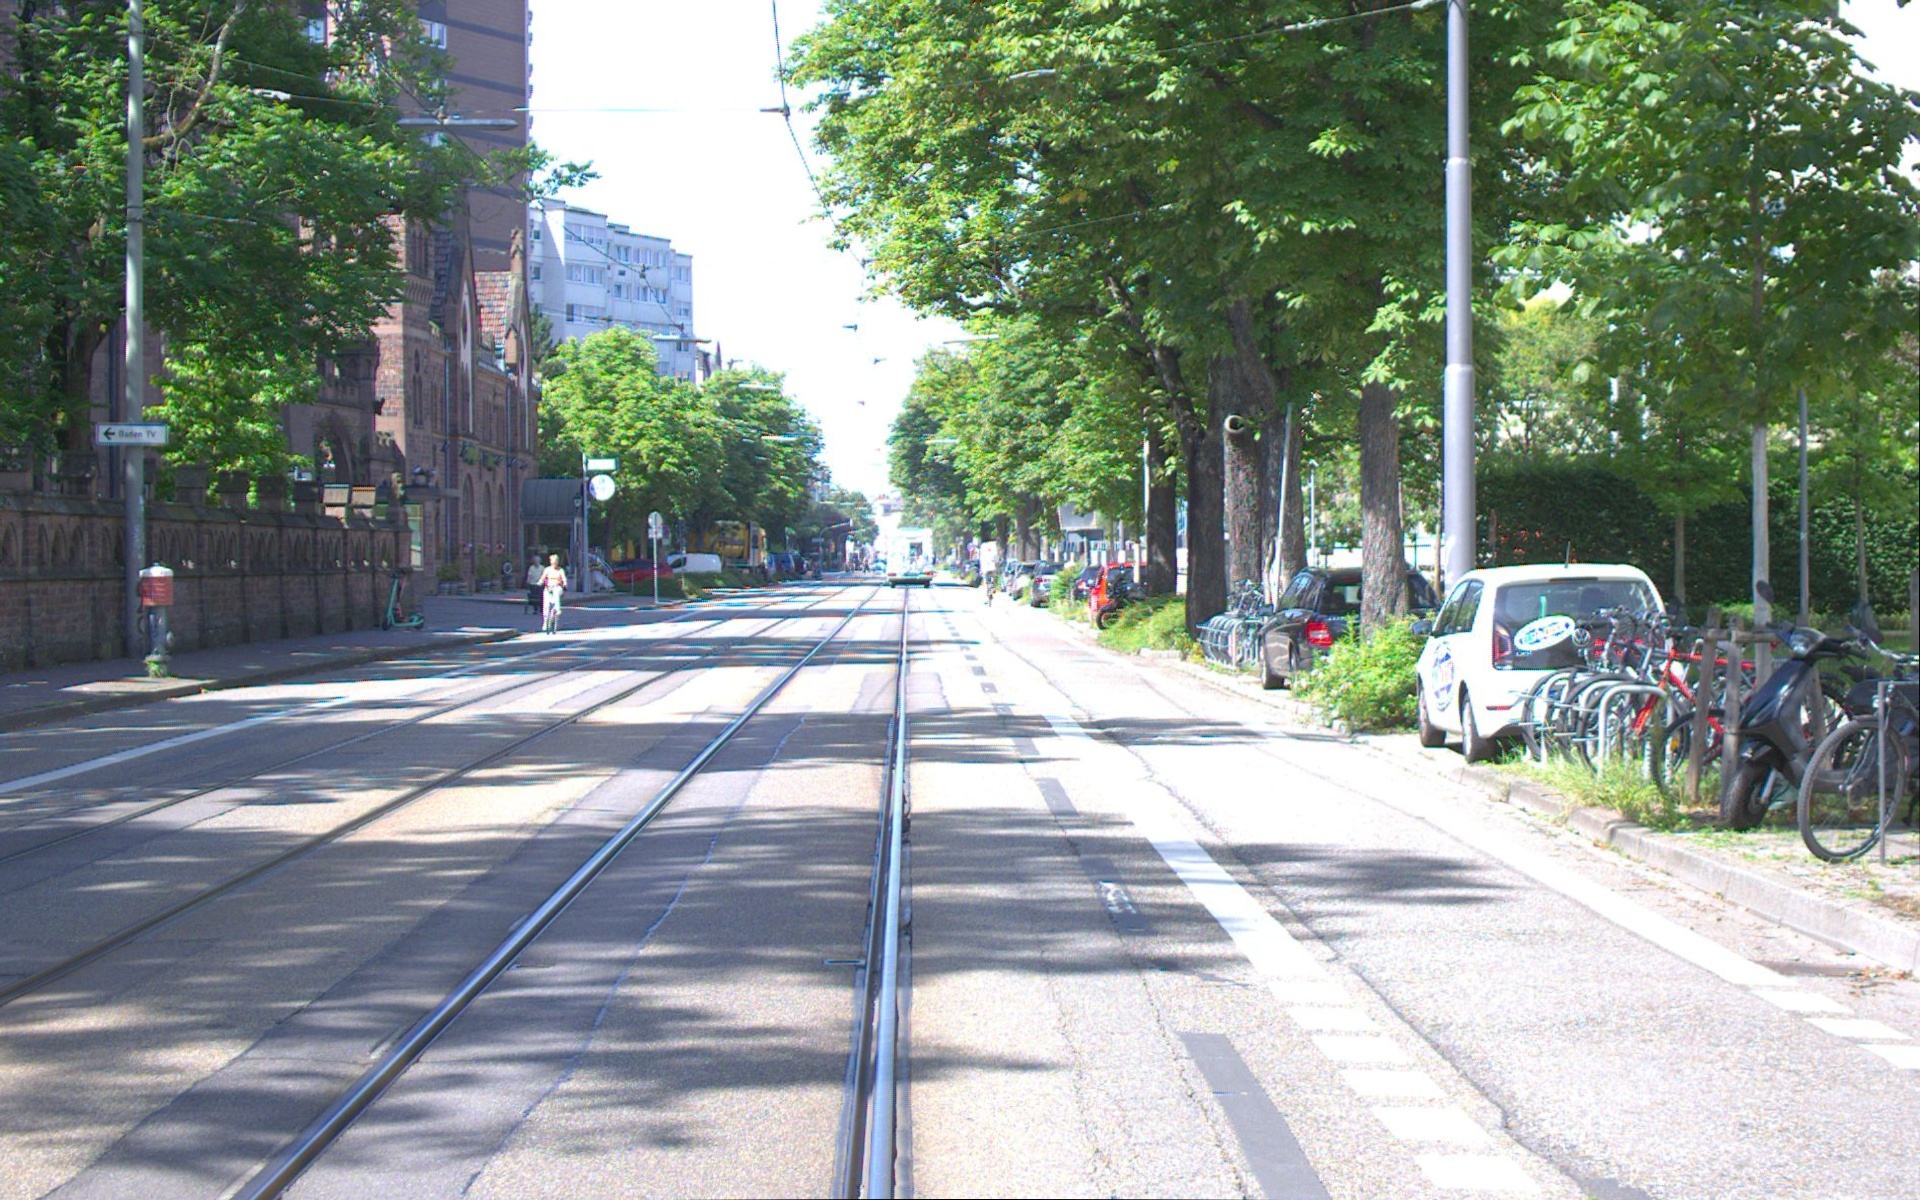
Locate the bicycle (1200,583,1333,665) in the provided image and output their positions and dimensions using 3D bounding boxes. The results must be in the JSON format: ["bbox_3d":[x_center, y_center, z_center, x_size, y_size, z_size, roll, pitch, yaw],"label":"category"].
[{"bbox_3d":[4.142,0.318,46.525,1.724,1.082,0.589,0,1,-1],"label":"bicycle"}]

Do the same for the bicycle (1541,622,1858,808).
[{"bbox_3d":[4.656,0.716,21.714,1.849,1.128,0.680,0,1,-1],"label":"bicycle"}]

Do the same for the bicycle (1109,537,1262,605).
[{"bbox_3d":[4.513,-0.582,68.932,3.028,1.327,1.041,0,0,3],"label":"bicycle"}]

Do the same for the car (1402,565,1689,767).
[{"bbox_3d":[4.490,0.464,26.794,1.630,1.467,3.630,0,0,0],"label":"car"}]

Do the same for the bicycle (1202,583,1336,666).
[{"bbox_3d":[4.119,0.324,45.937,1.724,1.082,0.570,0,1,-1],"label":"bicycle"}]

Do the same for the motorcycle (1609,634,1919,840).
[{"bbox_3d":[4.497,0.744,18.895,1.724,1.082,0.658,0,1,-1],"label":"motorcycle"}]

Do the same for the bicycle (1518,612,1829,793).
[{"bbox_3d":[4.633,0.659,22.392,1.872,1.137,0.686,0,1,-1],"label":"bicycle"}]

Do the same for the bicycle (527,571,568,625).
[{"bbox_3d":[-9.096,-0.052,75.902,0.662,1.150,2.014,0,1,0],"label":"bicycle"}]

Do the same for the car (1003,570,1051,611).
[{"bbox_3d":[2.476,-0.352,127.423,1.630,1.467,4.114,0,1,-1],"label":"car"}]

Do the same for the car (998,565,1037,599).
[{"bbox_3d":[2.543,-0.806,153.043,1.630,1.467,4.114,0,1,-1],"label":"car"}]

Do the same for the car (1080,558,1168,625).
[{"bbox_3d":[3.701,-0.213,77.994,1.629,1.467,3.720,-1,1,-3],"label":"car"}]

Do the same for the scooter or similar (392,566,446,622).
[{"bbox_3d":[-11.070,-0.125,70.354,0.333,1.125,1.184,0,0,38],"label":"scooter or similar"}]

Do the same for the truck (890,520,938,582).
[{"bbox_3d":[-2.356,-2.493,174.278,2.402,3.098,6.037,0,1,-1],"label":"truck"}]

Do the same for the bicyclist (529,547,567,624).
[{"bbox_3d":[-9.098,-0.326,75.859,0.725,1.692,1.147,0,1,-1],"label":"bicyclist"}]

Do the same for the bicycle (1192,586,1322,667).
[{"bbox_3d":[4.105,0.363,47.584,1.724,1.082,0.615,0,1,-1],"label":"bicycle"}]

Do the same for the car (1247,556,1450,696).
[{"bbox_3d":[4.347,0.254,39.031,1.629,1.478,4.274,0,1,-3],"label":"car"}]

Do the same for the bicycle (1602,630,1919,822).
[{"bbox_3d":[4.721,0.735,20.300,1.724,1.082,0.639,0,1,-1],"label":"bicycle"}]

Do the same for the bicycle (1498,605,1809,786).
[{"bbox_3d":[4.628,0.630,23.039,1.904,1.165,0.819,0,1,-1],"label":"bicycle"}]

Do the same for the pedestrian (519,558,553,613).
[{"bbox_3d":[-11.711,-0.403,94.924,0.883,1.507,1.476,0,0,-9],"label":"pedestrian"}]

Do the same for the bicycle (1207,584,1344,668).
[{"bbox_3d":[4.149,0.336,45.295,1.724,1.082,0.697,0,1,-1],"label":"bicycle"}]

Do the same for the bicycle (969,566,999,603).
[{"bbox_3d":[0.739,-0.491,107.042,0.855,1.106,2.139,0,1,-1],"label":"bicycle"}]

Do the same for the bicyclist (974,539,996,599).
[{"bbox_3d":[0.777,-0.976,107.191,0.636,1.865,1.024,0,1,-1],"label":"bicyclist"}]

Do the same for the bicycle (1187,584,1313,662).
[{"bbox_3d":[4.094,0.318,48.627,1.724,1.082,0.478,0,1,-1],"label":"bicycle"}]

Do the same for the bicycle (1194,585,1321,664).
[{"bbox_3d":[4.168,0.341,48.143,1.724,1.082,0.478,0,1,-1],"label":"bicycle"}]

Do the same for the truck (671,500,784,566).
[{"bbox_3d":[-13.920,-3.991,207.146,2.816,3.846,9.989,0,1,21],"label":"truck"}]

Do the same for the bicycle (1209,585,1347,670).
[{"bbox_3d":[4.124,0.351,44.637,1.724,1.082,0.629,0,1,-1],"label":"bicycle"}]

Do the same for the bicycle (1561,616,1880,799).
[{"bbox_3d":[4.671,0.652,21.185,1.792,1.082,0.726,0,1,-1],"label":"bicycle"}]

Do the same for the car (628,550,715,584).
[{"bbox_3d":[-14.948,-1.694,178.131,3.987,1.744,2.000,0,1,-31],"label":"car"}]

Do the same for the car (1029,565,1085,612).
[{"bbox_3d":[3.072,-0.382,109.534,1.630,1.467,4.114,0,1,-1],"label":"car"}]

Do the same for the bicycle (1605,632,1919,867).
[{"bbox_3d":[4.066,0.709,16.650,1.724,1.082,0.789,0,1,-1],"label":"bicycle"}]

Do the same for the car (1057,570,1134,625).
[{"bbox_3d":[3.448,-0.078,87.852,1.629,1.350,3.902,-1,1,-3],"label":"car"}]

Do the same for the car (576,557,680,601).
[{"bbox_3d":[-14.008,-0.890,145.283,3.988,1.804,1.889,-1,1,-38],"label":"car"}]
